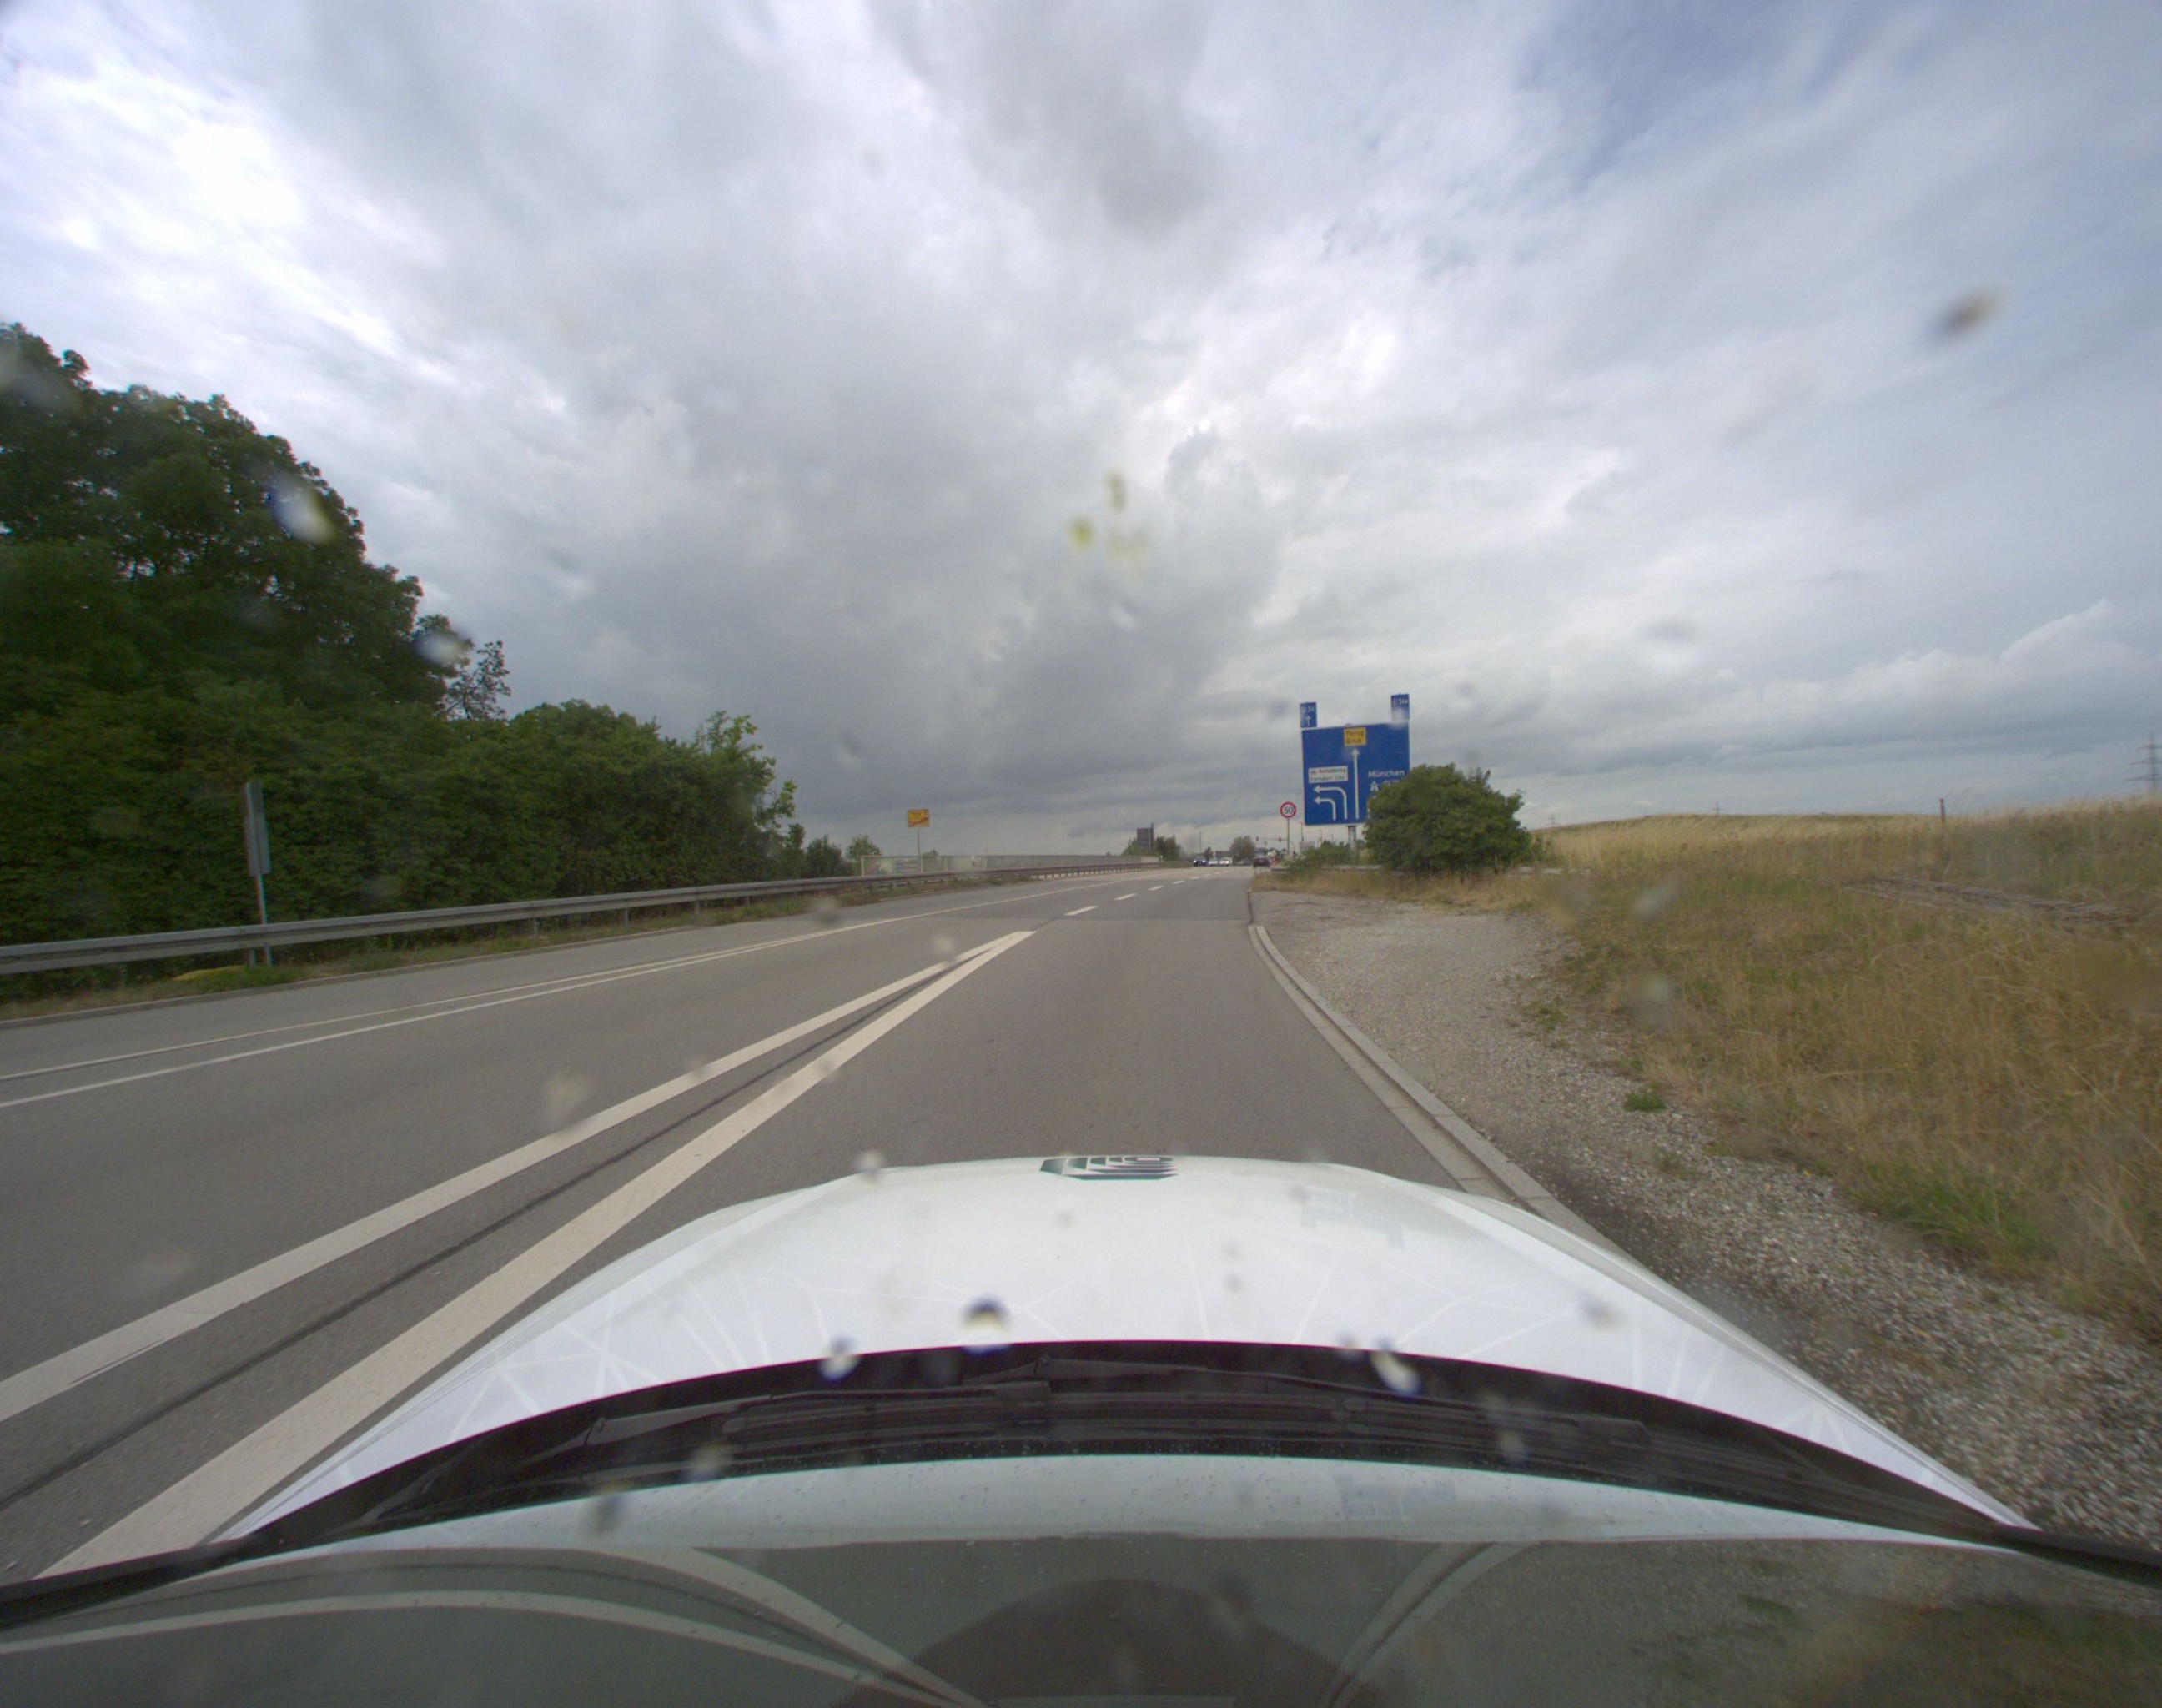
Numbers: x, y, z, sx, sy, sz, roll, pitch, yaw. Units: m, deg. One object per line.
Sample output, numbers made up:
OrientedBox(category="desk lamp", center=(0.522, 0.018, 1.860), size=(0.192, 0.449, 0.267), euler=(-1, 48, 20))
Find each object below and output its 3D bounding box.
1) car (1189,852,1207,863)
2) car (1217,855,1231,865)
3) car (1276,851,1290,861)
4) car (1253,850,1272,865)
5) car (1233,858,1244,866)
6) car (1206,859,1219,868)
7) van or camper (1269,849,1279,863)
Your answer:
OrientedBox(category="car", center=(19.653, 0.560, 136.315), size=(1.977, 1.732, 4.785), euler=(3, 0, 20))
OrientedBox(category="car", center=(29.368, 1.228, 166.908), size=(1.938, 1.874, 4.845), euler=(3, 3, 19))
OrientedBox(category="car", center=(32.422, 0.351, 130.666), size=(1.668, 1.544, 3.633), euler=(-2, -1, 19))
OrientedBox(category="car", center=(18.869, 0.389, 84.717), size=(1.505, 1.485, 3.633), euler=(-2, -1, 19))
OrientedBox(category="car", center=(35.186, 1.787, 181.786), size=(1.568, 1.557, 4.170), euler=(-1, -1, 26))
OrientedBox(category="car", center=(24.226, 1.720, 149.985), size=(1.698, 1.486, 4.301), euler=(3, 3, 19))
OrientedBox(category="van or camper", center=(37.348, 0.420, 157.466), size=(1.862, 2.581, 4.016), euler=(0, -1, 16))
